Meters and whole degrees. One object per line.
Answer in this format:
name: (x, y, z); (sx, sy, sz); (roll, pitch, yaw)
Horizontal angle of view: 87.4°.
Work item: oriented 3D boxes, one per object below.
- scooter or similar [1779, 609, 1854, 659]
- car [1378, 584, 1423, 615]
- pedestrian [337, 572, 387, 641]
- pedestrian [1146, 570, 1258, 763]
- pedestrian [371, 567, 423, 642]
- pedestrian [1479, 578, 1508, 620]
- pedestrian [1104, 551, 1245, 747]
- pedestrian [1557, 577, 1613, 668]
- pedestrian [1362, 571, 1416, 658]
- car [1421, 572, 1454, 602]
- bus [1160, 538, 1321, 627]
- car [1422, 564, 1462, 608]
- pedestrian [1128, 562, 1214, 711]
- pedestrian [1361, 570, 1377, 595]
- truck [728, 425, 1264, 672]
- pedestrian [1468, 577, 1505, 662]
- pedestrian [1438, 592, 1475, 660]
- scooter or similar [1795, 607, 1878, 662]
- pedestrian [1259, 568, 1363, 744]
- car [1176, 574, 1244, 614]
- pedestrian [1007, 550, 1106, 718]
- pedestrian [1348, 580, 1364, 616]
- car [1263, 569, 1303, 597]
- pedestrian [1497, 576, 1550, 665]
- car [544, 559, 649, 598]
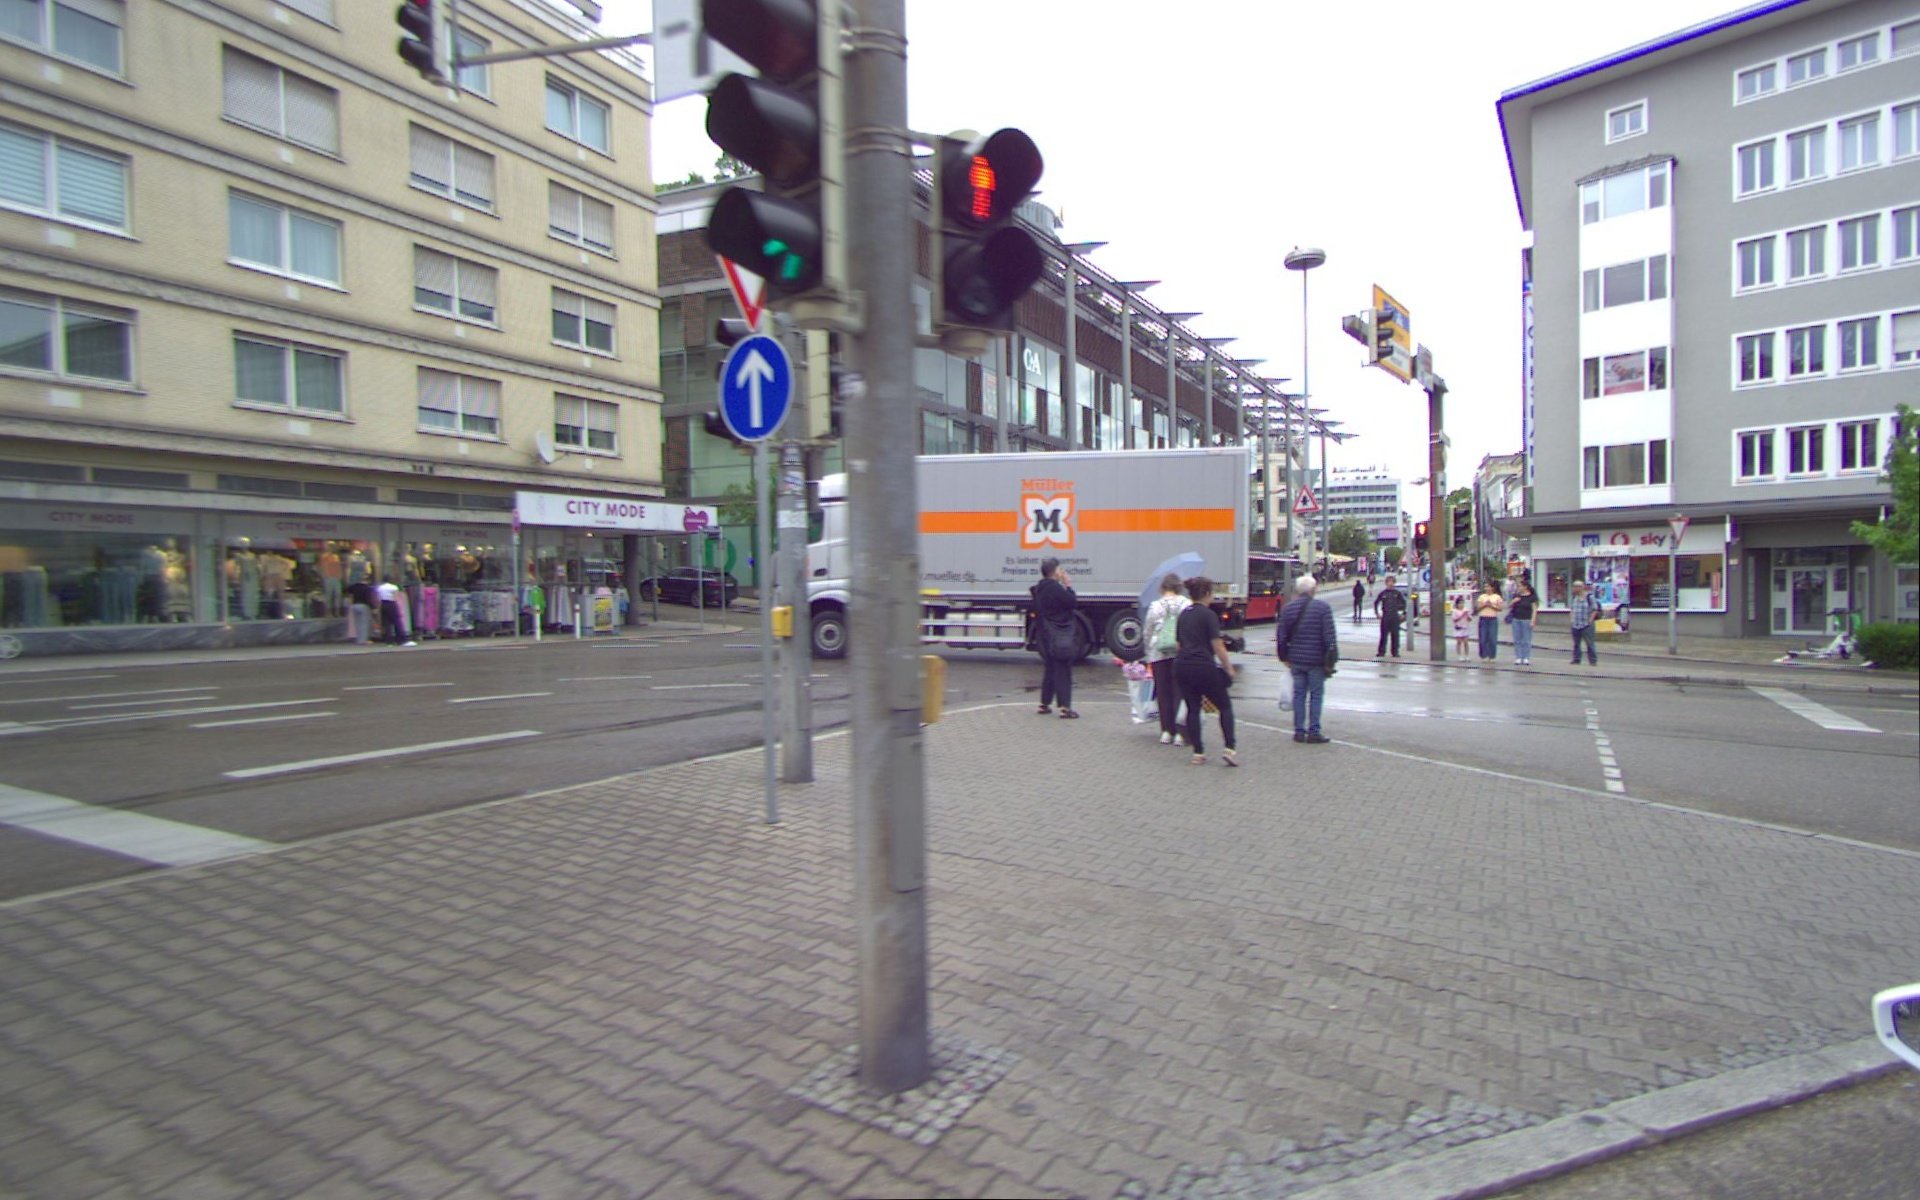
scooter or similar: (21.420, 0.822, 25.127); (0.540, 1.203, 1.368); (0, 0, -41)
car: (23.679, -0.026, 53.928); (1.712, 1.548, 3.992); (2, 2, 30)
pedestrian: (-13.723, 0.138, 23.066); (0.773, 1.557, 0.680); (2, 1, 27)
pedestrian: (2.011, 0.526, 8.340); (0.695, 1.507, 0.559); (3, 1, 34)
pedestrian: (-12.703, 0.098, 22.683); (0.831, 1.650, 0.772); (1, 1, -14)
pedestrian: (23.281, -0.063, 43.865); (1.006, 1.799, 0.799); (2, 2, 24)
pedestrian: (2.003, 0.414, 9.373); (0.965, 1.695, 0.912); (3, 2, 35)
pedestrian: (12.759, 0.438, 20.530); (0.816, 1.802, 0.617); (2, 2, 24)
pedestrian: (9.278, 0.288, 21.763); (0.993, 1.811, 0.853); (2, 2, 23)
car: (31.840, -0.871, 66.912); (1.832, 1.850, 4.098); (2, 2, 27)
bus: (13.680, -0.715, 46.913); (2.877, 3.365, 18.444); (2, 1, 29)
car: (34.920, -1.017, 72.693); (2.407, 2.997, 6.145); (2, 2, 27)
pedestrian: (2.548, 0.424, 12.132); (0.746, 1.714, 0.691); (3, 0, 34)
pedestrian: (31.897, -1.329, 78.360); (0.942, 1.912, 0.807); (3, 2, 36)
truck: (0.685, -1.019, 20.674); (10.555, 4.392, 2.856); (1, 1, 16)
pedestrian: (10.710, 0.378, 20.425); (0.562, 1.691, 0.500); (2, 1, 36)
pedestrian: (10.254, 0.521, 20.755); (0.620, 1.357, 0.587); (2, 2, 24)
scooter or similar: (22.788, 0.878, 26.130); (0.923, 1.274, 1.484); (-5, 5, -40)
pedestrian: (3.389, 0.506, 9.677); (0.703, 1.589, 0.852); (3, 1, 34)
car: (14.358, -0.353, 57.476); (2.407, 2.103, 5.899); (2, 1, 28)
pedestrian: (1.056, 0.346, 10.915); (0.773, 1.734, 0.705); (3, 1, 34)
pedestrian: (20.290, -0.088, 51.490); (0.616, 1.827, 0.904); (2, 1, 27)
car: (25.127, -1.301, 78.058); (2.207, 2.062, 5.351); (2, 1, 26)
pedestrian: (11.266, 0.397, 20.077); (0.771, 1.712, 0.636); (3, 2, 38)
car: (-16.578, -1.030, 45.826); (4.294, 1.567, 1.898); (3, 4, 20)
